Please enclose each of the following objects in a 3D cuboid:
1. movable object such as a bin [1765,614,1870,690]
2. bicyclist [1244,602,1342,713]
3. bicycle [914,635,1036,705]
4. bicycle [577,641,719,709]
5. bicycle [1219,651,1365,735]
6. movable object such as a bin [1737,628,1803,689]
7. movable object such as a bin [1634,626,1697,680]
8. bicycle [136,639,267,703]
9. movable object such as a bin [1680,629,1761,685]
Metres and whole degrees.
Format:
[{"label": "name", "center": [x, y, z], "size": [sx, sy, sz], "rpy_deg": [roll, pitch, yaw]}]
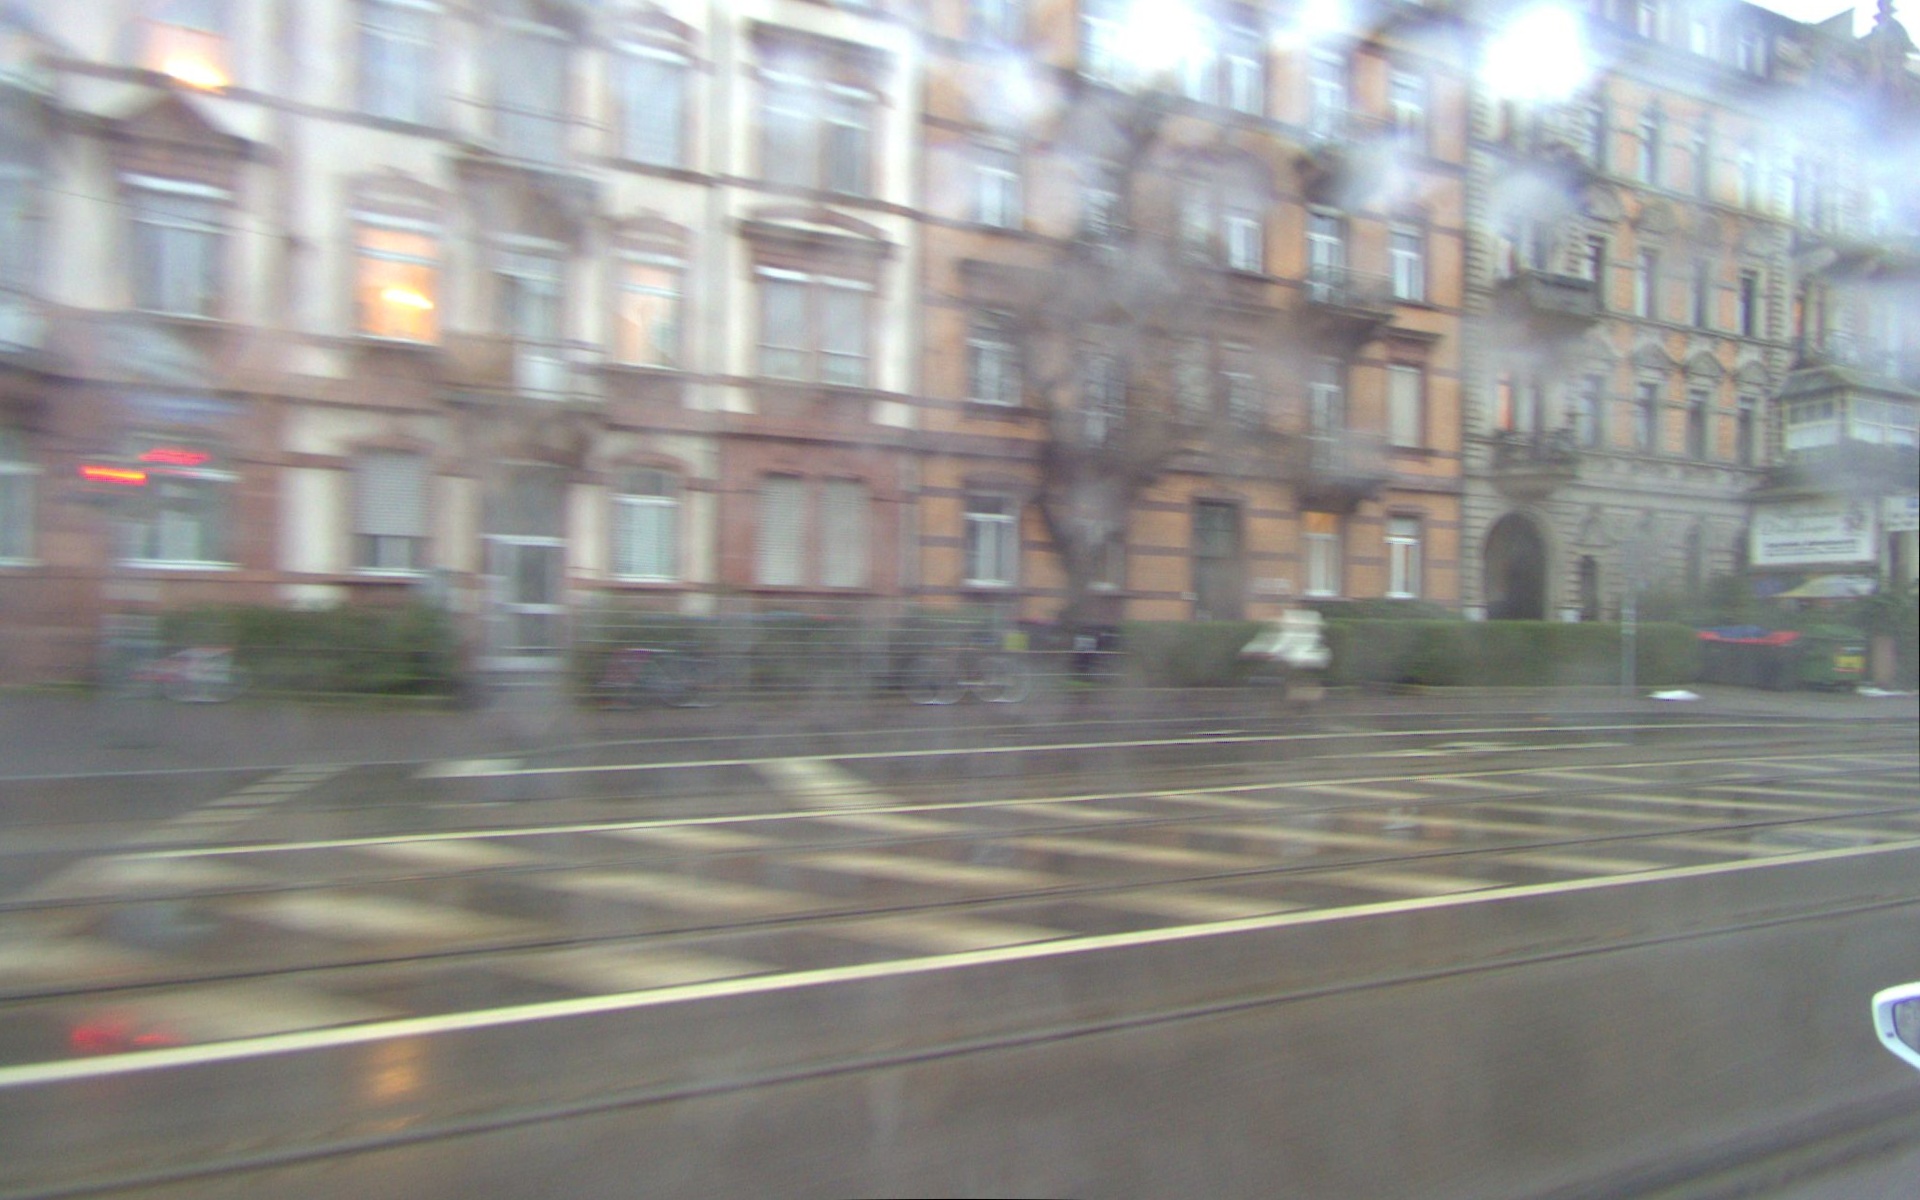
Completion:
[{"label": "movable object such as a bin", "center": [19.023, 1.136, 22.306], "size": [1.286, 1.607, 1.243], "rpy_deg": [1, 1, -17]}, {"label": "bicyclist", "center": [4.357, 0.735, 13.164], "size": [0.930, 1.382, 0.703], "rpy_deg": [2, 2, -20]}, {"label": "bicycle", "center": [0.237, 1.060, 15.313], "size": [1.821, 1.020, 0.415], "rpy_deg": [2, 0, -21]}, {"label": "bicycle", "center": [-4.266, 1.024, 13.771], "size": [1.821, 0.874, 0.399], "rpy_deg": [2, 0, -21]}, {"label": "bicycle", "center": [4.351, 1.198, 13.177], "size": [1.776, 1.020, 0.680], "rpy_deg": [2, 0, -21]}, {"label": "movable object such as a bin", "center": [18.078, 1.296, 22.427], "size": [0.736, 1.309, 0.893], "rpy_deg": [1, 0, -24]}, {"label": "movable object such as a bin", "center": [17.261, 1.281, 24.590], "size": [0.763, 1.260, 1.007], "rpy_deg": [1, 0, -24]}, {"label": "bicycle", "center": [-10.361, 0.956, 13.720], "size": [1.774, 0.769, 0.401], "rpy_deg": [1, 0, 15]}, {"label": "movable object such as a bin", "center": [17.764, 1.323, 23.473], "size": [0.932, 1.223, 1.182], "rpy_deg": [1, 0, -24]}]
